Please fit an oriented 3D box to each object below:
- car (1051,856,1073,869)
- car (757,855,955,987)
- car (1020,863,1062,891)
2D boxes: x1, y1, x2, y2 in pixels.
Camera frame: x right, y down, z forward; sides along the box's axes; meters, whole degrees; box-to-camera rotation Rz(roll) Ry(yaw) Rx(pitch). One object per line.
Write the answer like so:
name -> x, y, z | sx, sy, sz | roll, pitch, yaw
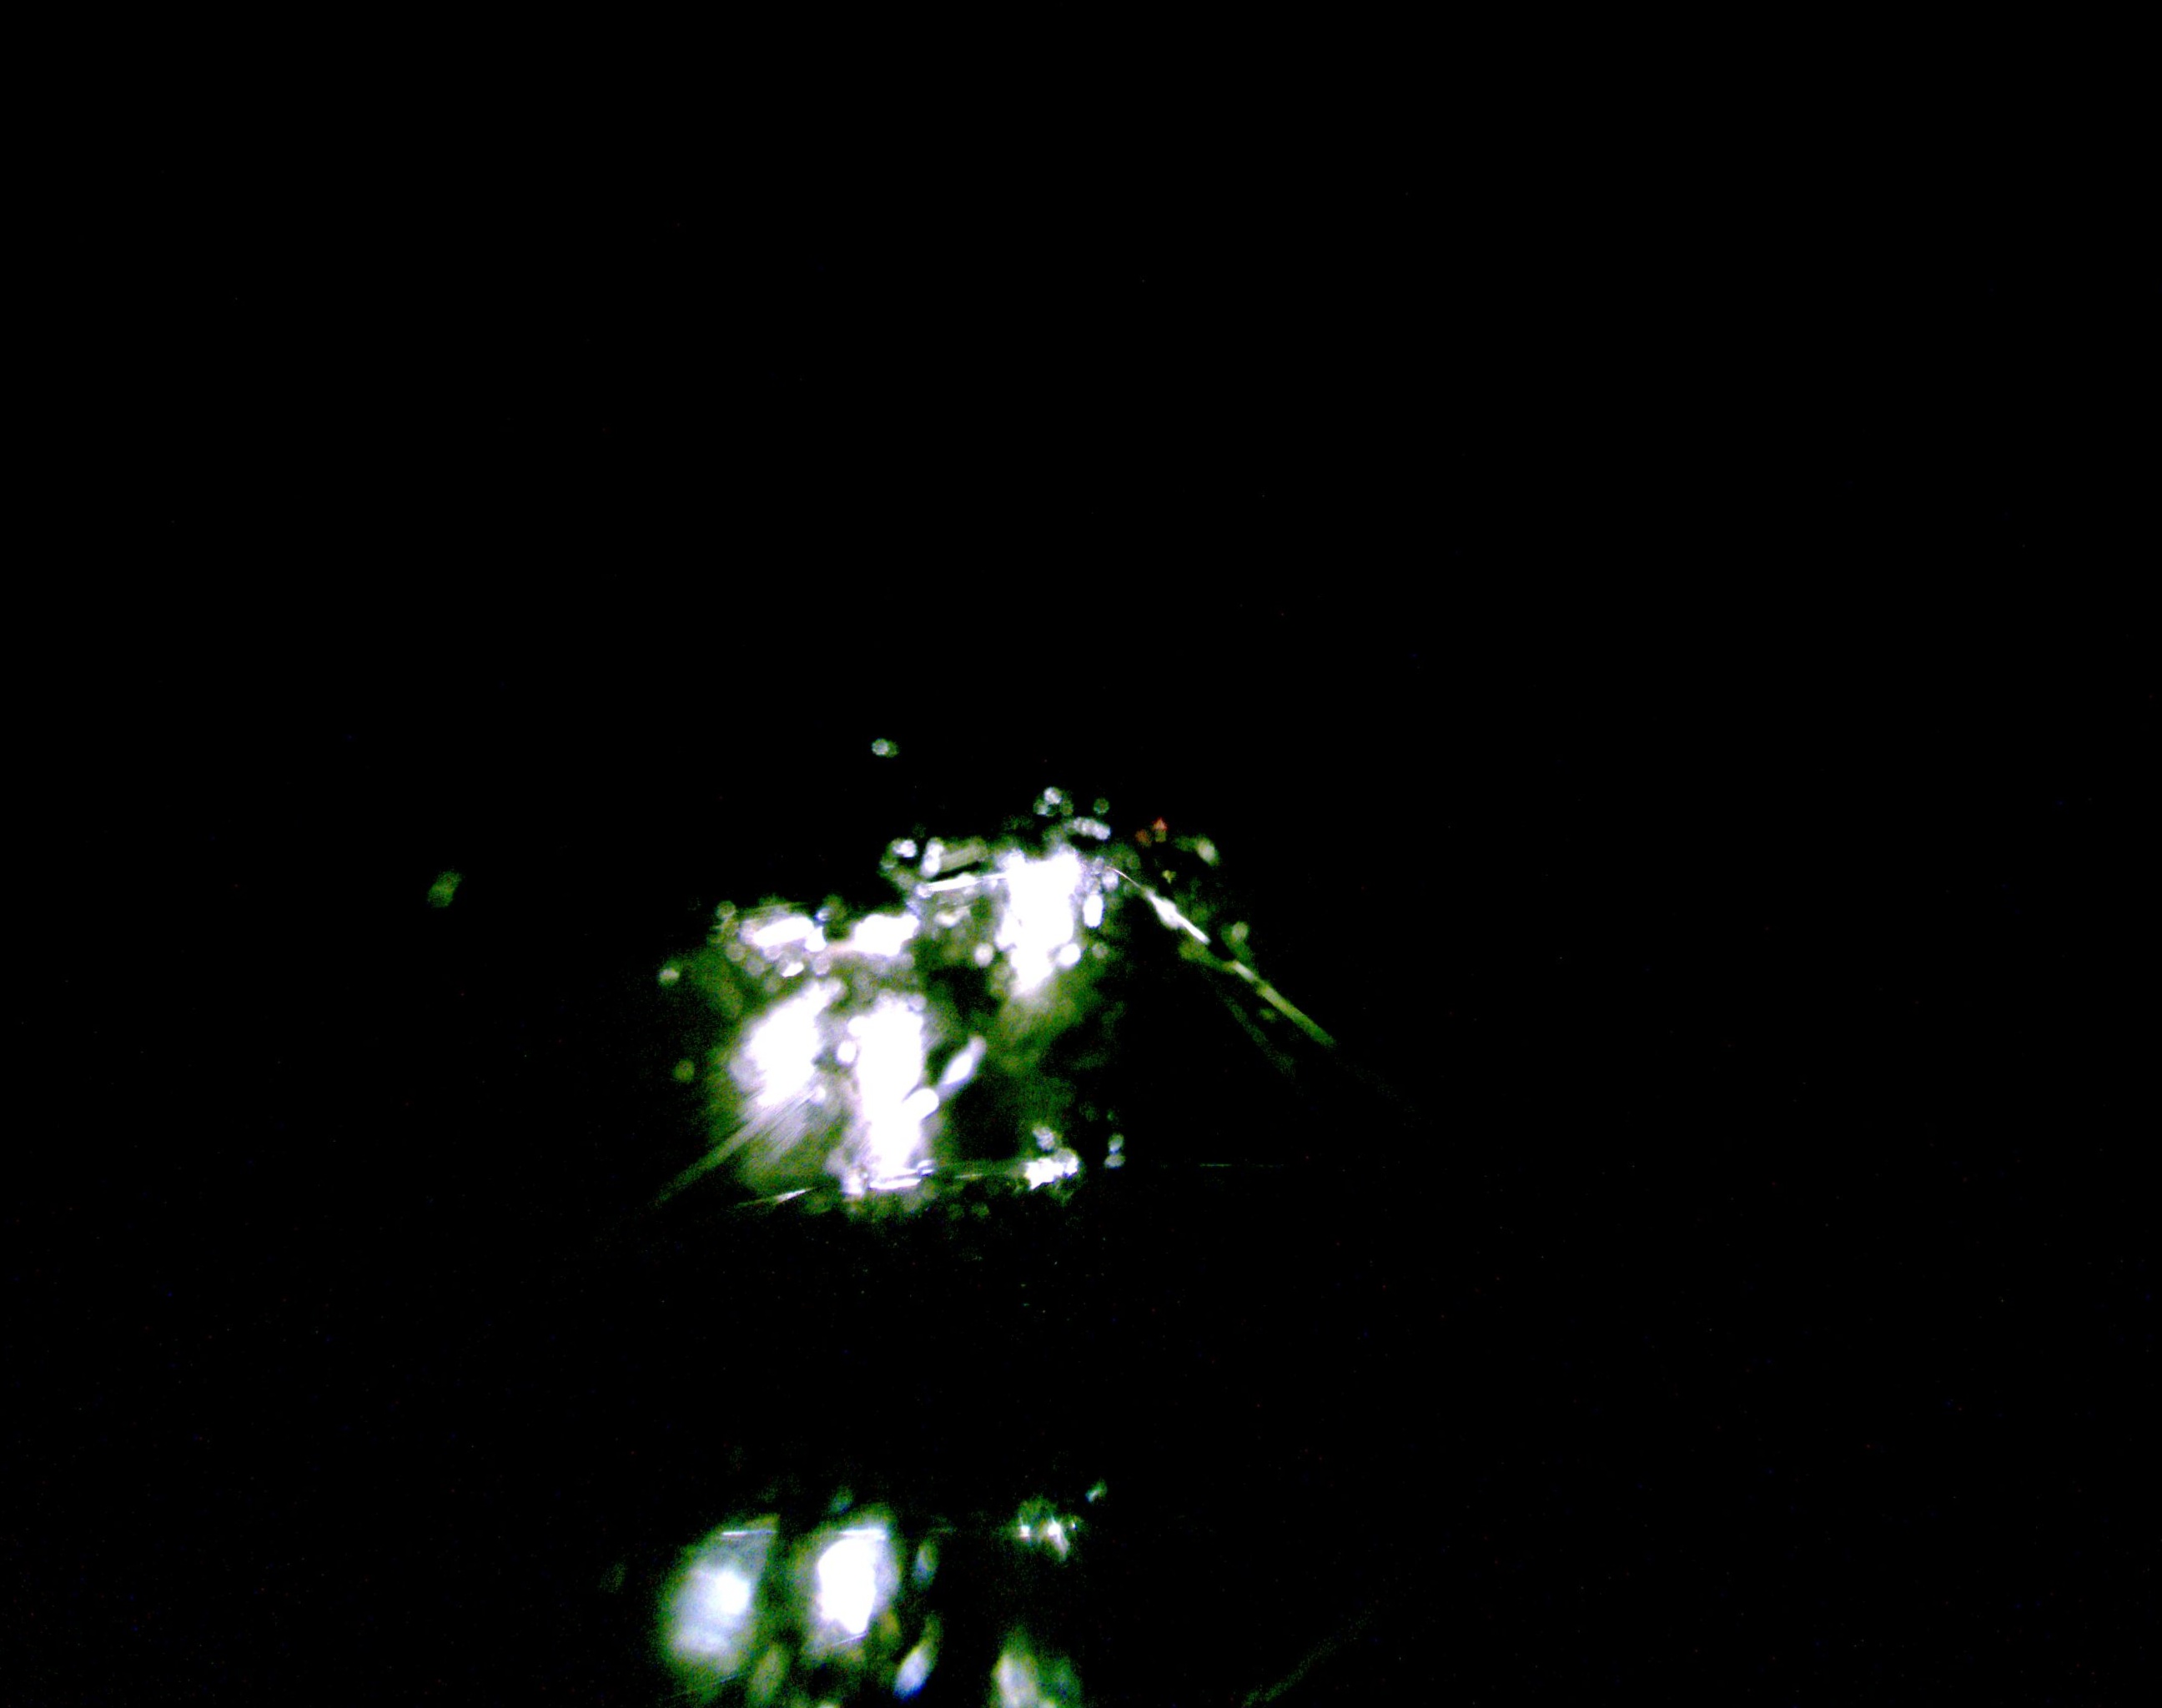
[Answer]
car -> -2.219, 1.001, 96.228 | 1.966, 1.462, 4.288 | -2, -1, 5
car -> -3.058, 0.818, 11.959 | 1.710, 1.554, 4.000 | -2, 0, 0
car -> -2.249, 1.310, 46.634 | 1.986, 1.497, 4.358 | -1, -1, 2
